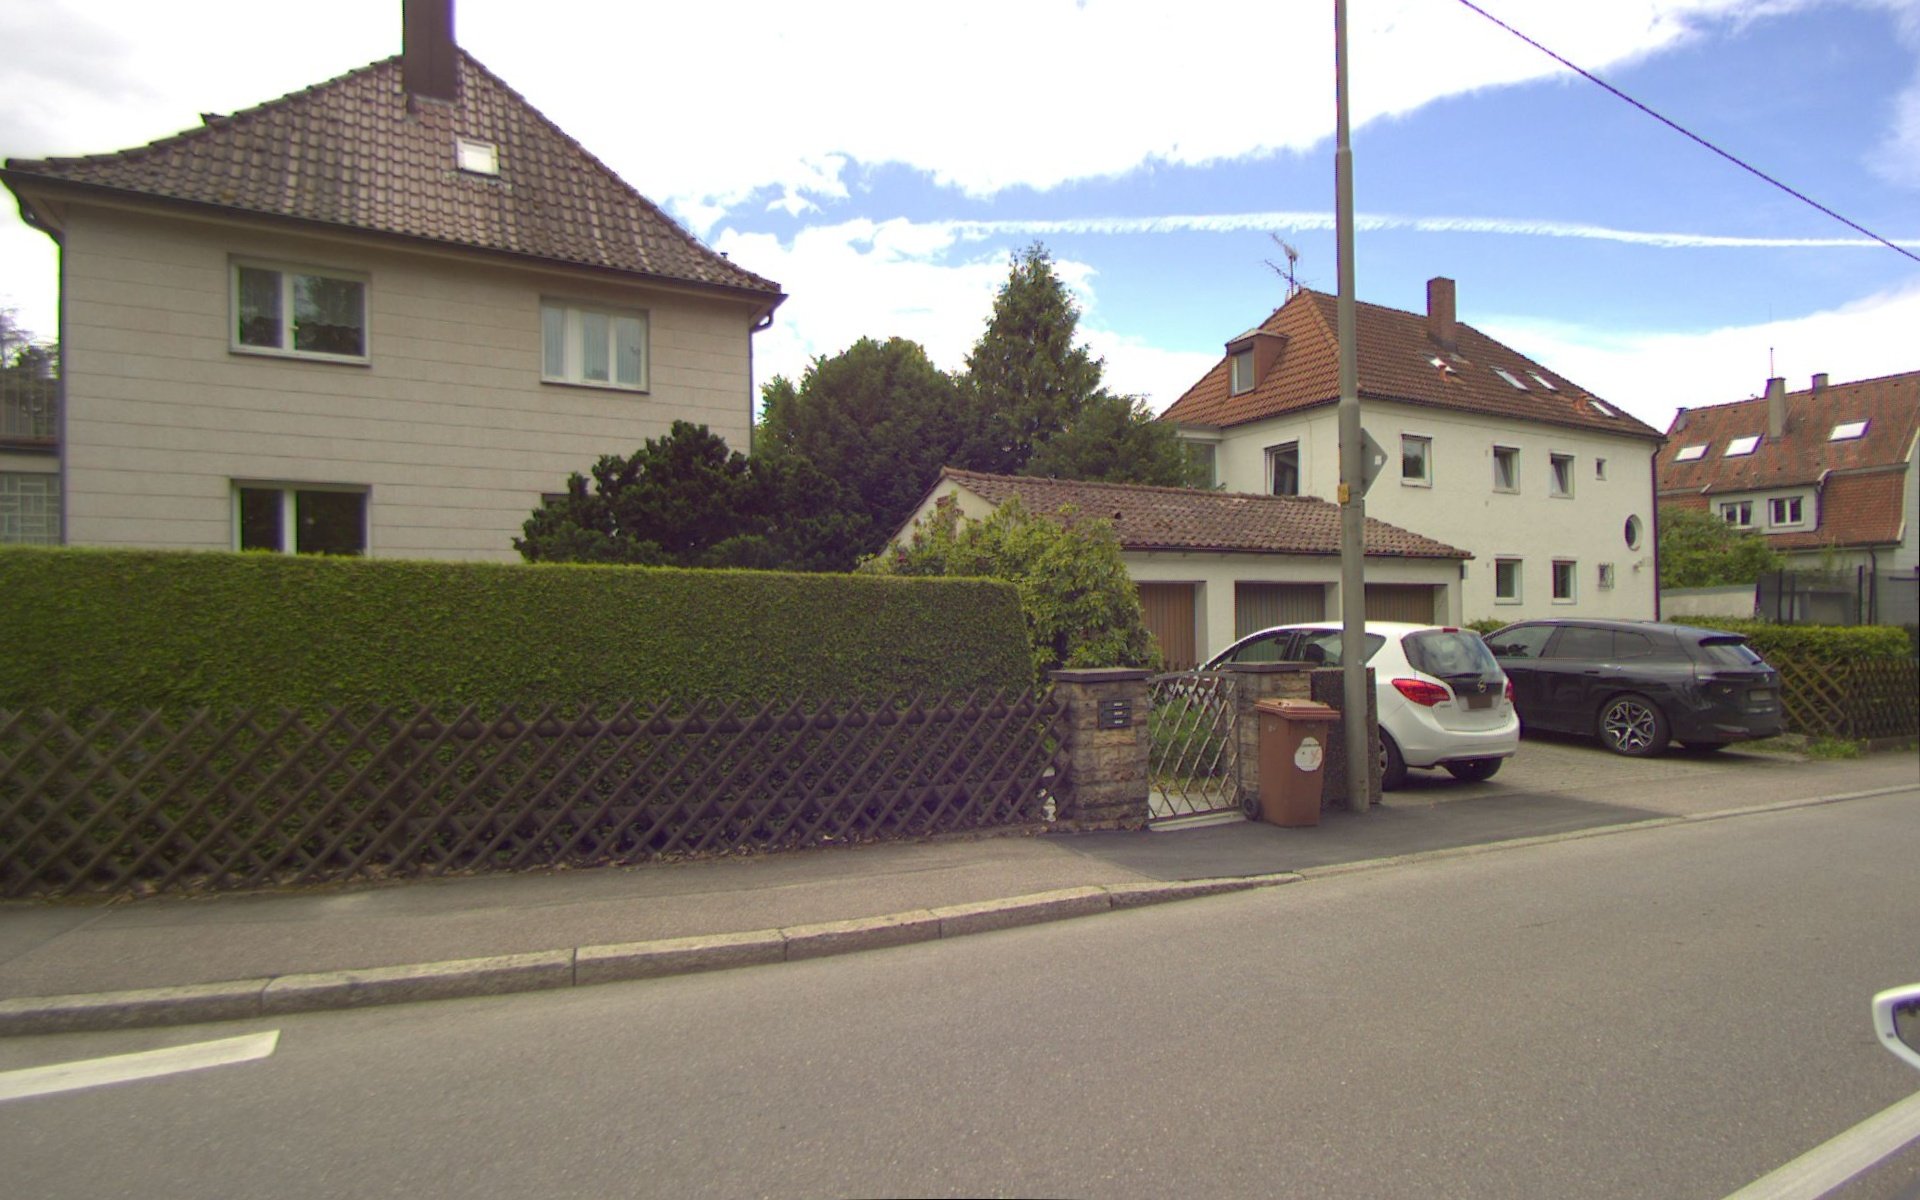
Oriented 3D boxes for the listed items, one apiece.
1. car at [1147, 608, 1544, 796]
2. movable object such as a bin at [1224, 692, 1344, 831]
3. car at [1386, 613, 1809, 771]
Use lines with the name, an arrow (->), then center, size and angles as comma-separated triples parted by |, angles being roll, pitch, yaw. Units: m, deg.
car -> 4.020, 0.952, 11.173 | 1.697, 1.615, 3.971 | 2, 0, -28
movable object such as a bin -> 2.482, 1.213, 7.731 | 0.564, 0.966, 0.686 | 1, -2, -24
car -> 8.544, 1.106, 13.991 | 1.860, 1.692, 4.650 | 2, 0, -29
